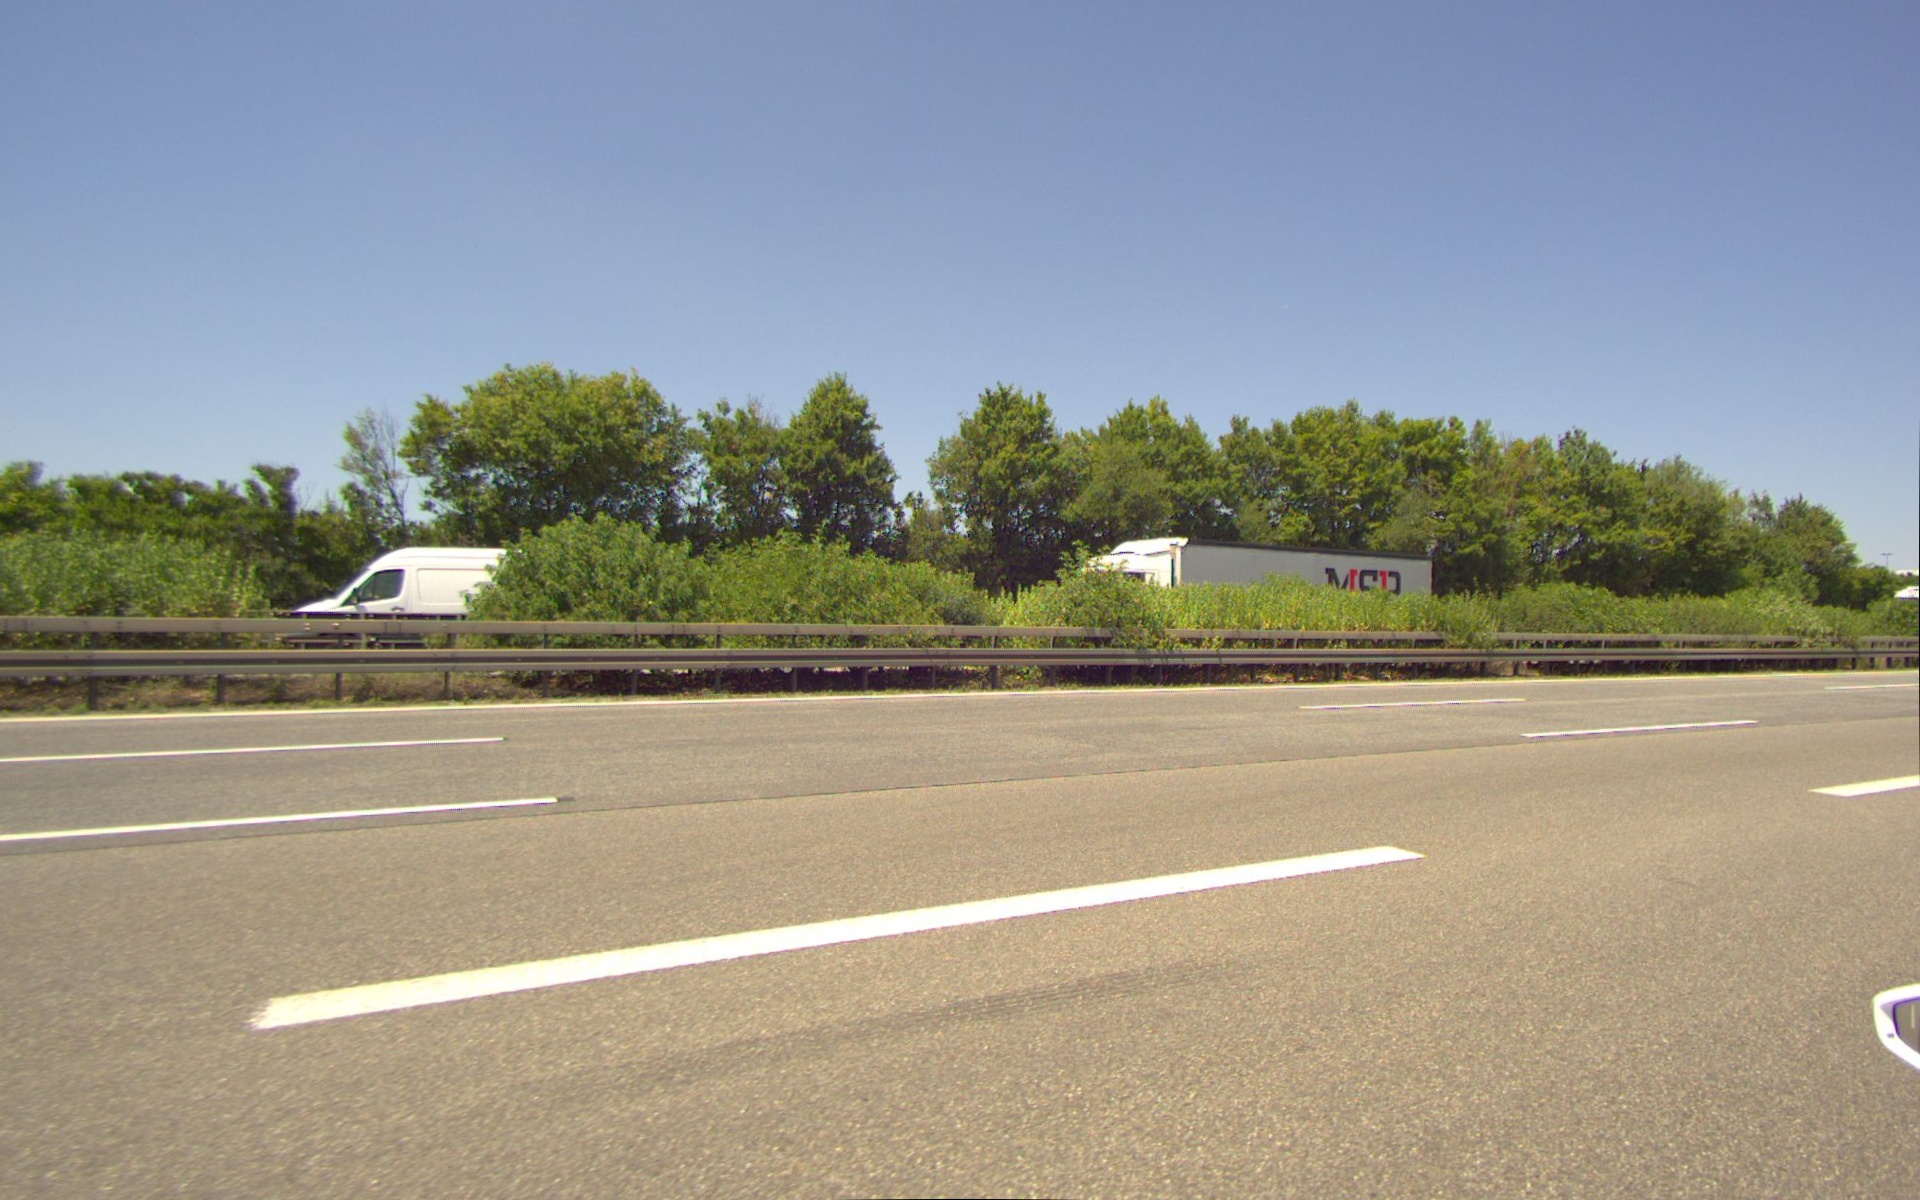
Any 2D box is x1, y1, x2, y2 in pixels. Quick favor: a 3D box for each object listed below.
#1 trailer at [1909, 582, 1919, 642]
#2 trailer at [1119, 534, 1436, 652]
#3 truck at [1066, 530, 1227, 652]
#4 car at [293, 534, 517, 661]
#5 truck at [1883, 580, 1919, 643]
[{"bbox_3d":[67.467,0.855,67.166,9.606,3.941,2.681,1,0,-27],"label":"trailer"},{"bbox_3d":[12.965,-0.102,40.109,13.751,4.144,3.379,1,0,-28],"label":"trailer"},{"bbox_3d":[6.815,-0.263,36.834,4.767,4.144,3.320,1,0,-28],"label":"truck"},{"bbox_3d":[-12.577,-0.006,22.979,4.266,2.682,1.832,2,0,-30],"label":"car"},{"bbox_3d":[62.530,0.767,64.675,5.669,3.941,2.686,1,0,-26],"label":"truck"}]
